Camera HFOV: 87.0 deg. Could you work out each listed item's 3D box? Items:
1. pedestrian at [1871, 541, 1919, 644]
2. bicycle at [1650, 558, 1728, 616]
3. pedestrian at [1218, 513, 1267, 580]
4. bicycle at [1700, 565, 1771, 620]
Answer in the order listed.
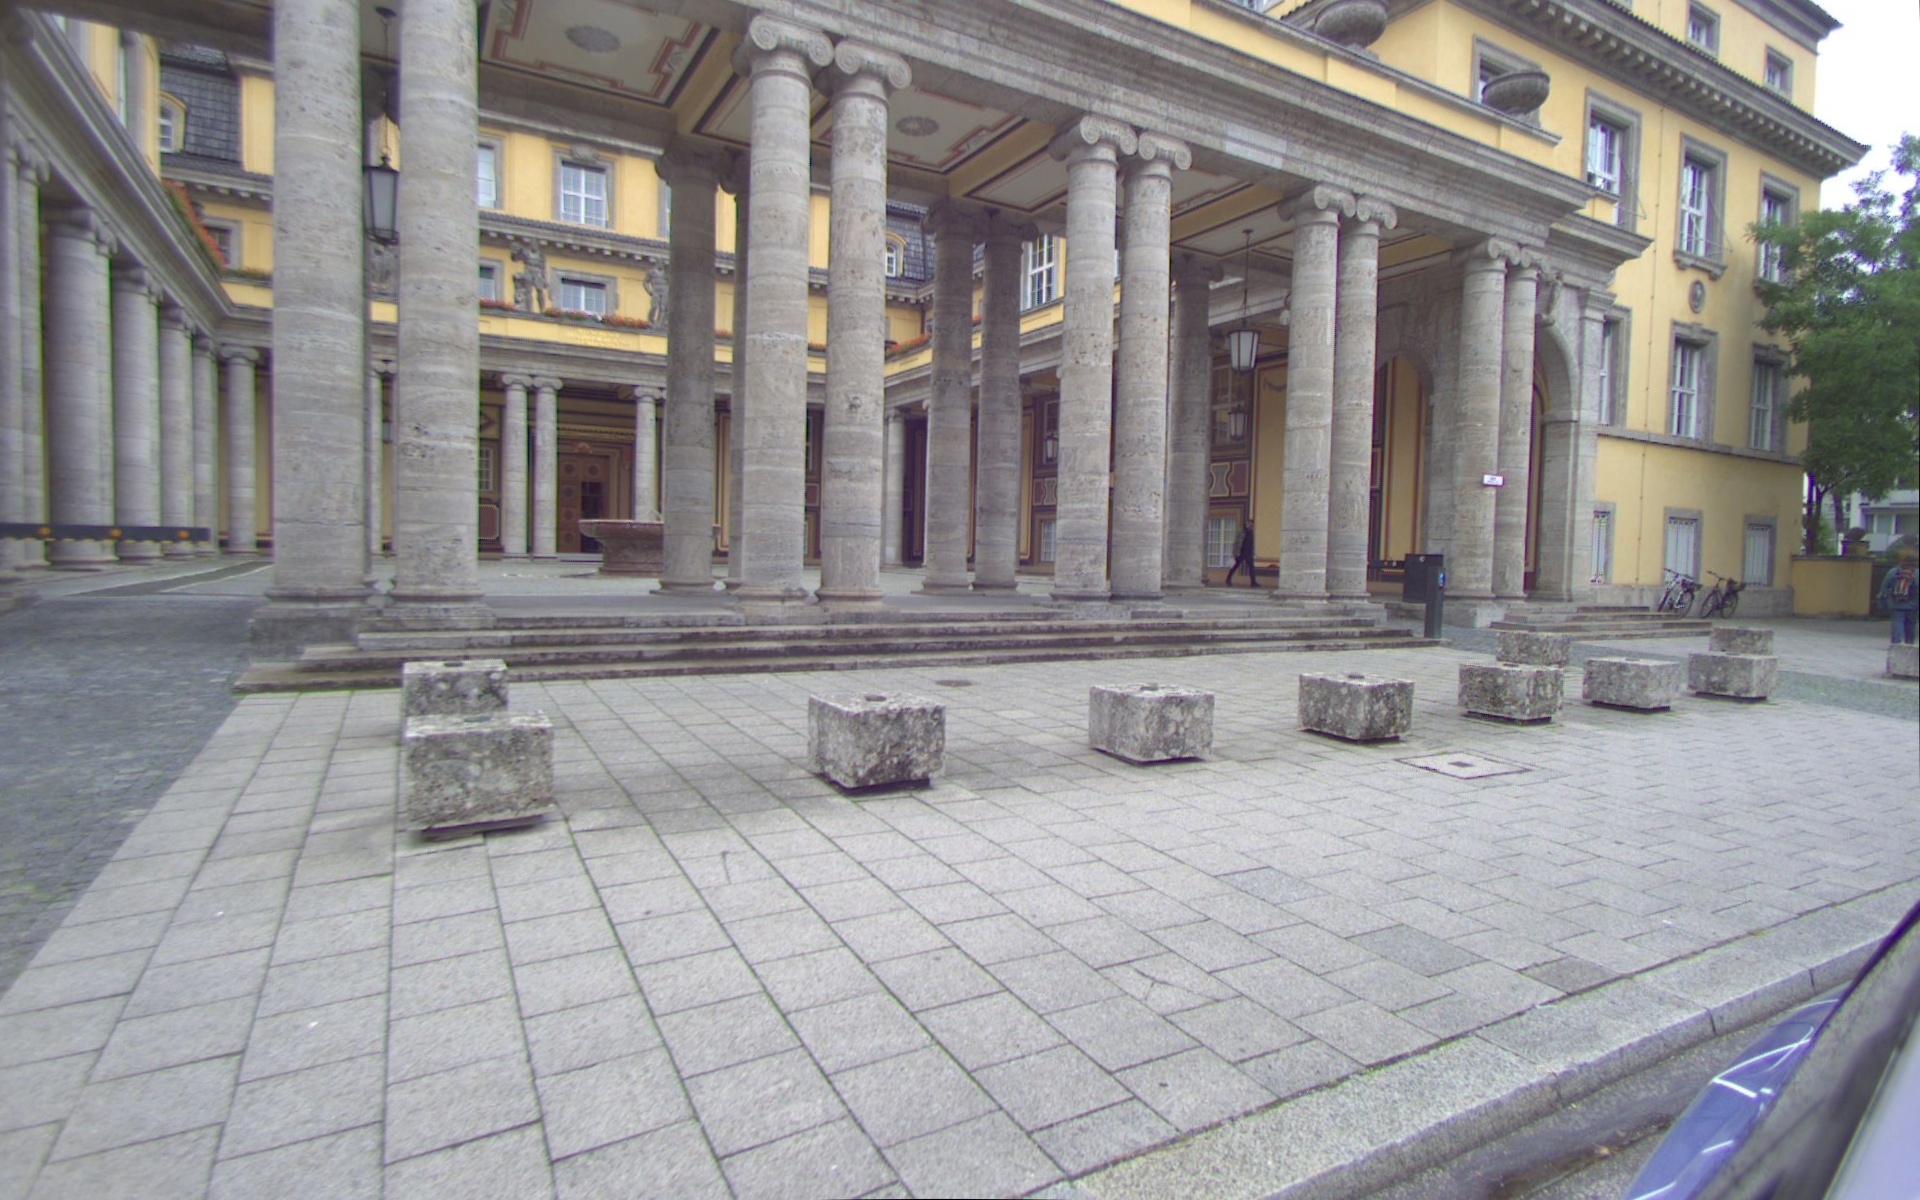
[{"bbox_3d":[16.846,-0.138,17.851,1.035,1.767,0.792,0,3,-30],"label":"pedestrian"},{"bbox_3d":[17.509,-0.316,24.295,2.218,1.322,0.603,0,3,-30],"label":"bicycle"},{"bbox_3d":[7.490,-1.402,26.834,0.792,1.742,0.983,0,0,-40],"label":"pedestrian"},{"bbox_3d":[19.508,-0.202,25.452,2.122,1.322,0.603,0,3,-30],"label":"bicycle"}]
